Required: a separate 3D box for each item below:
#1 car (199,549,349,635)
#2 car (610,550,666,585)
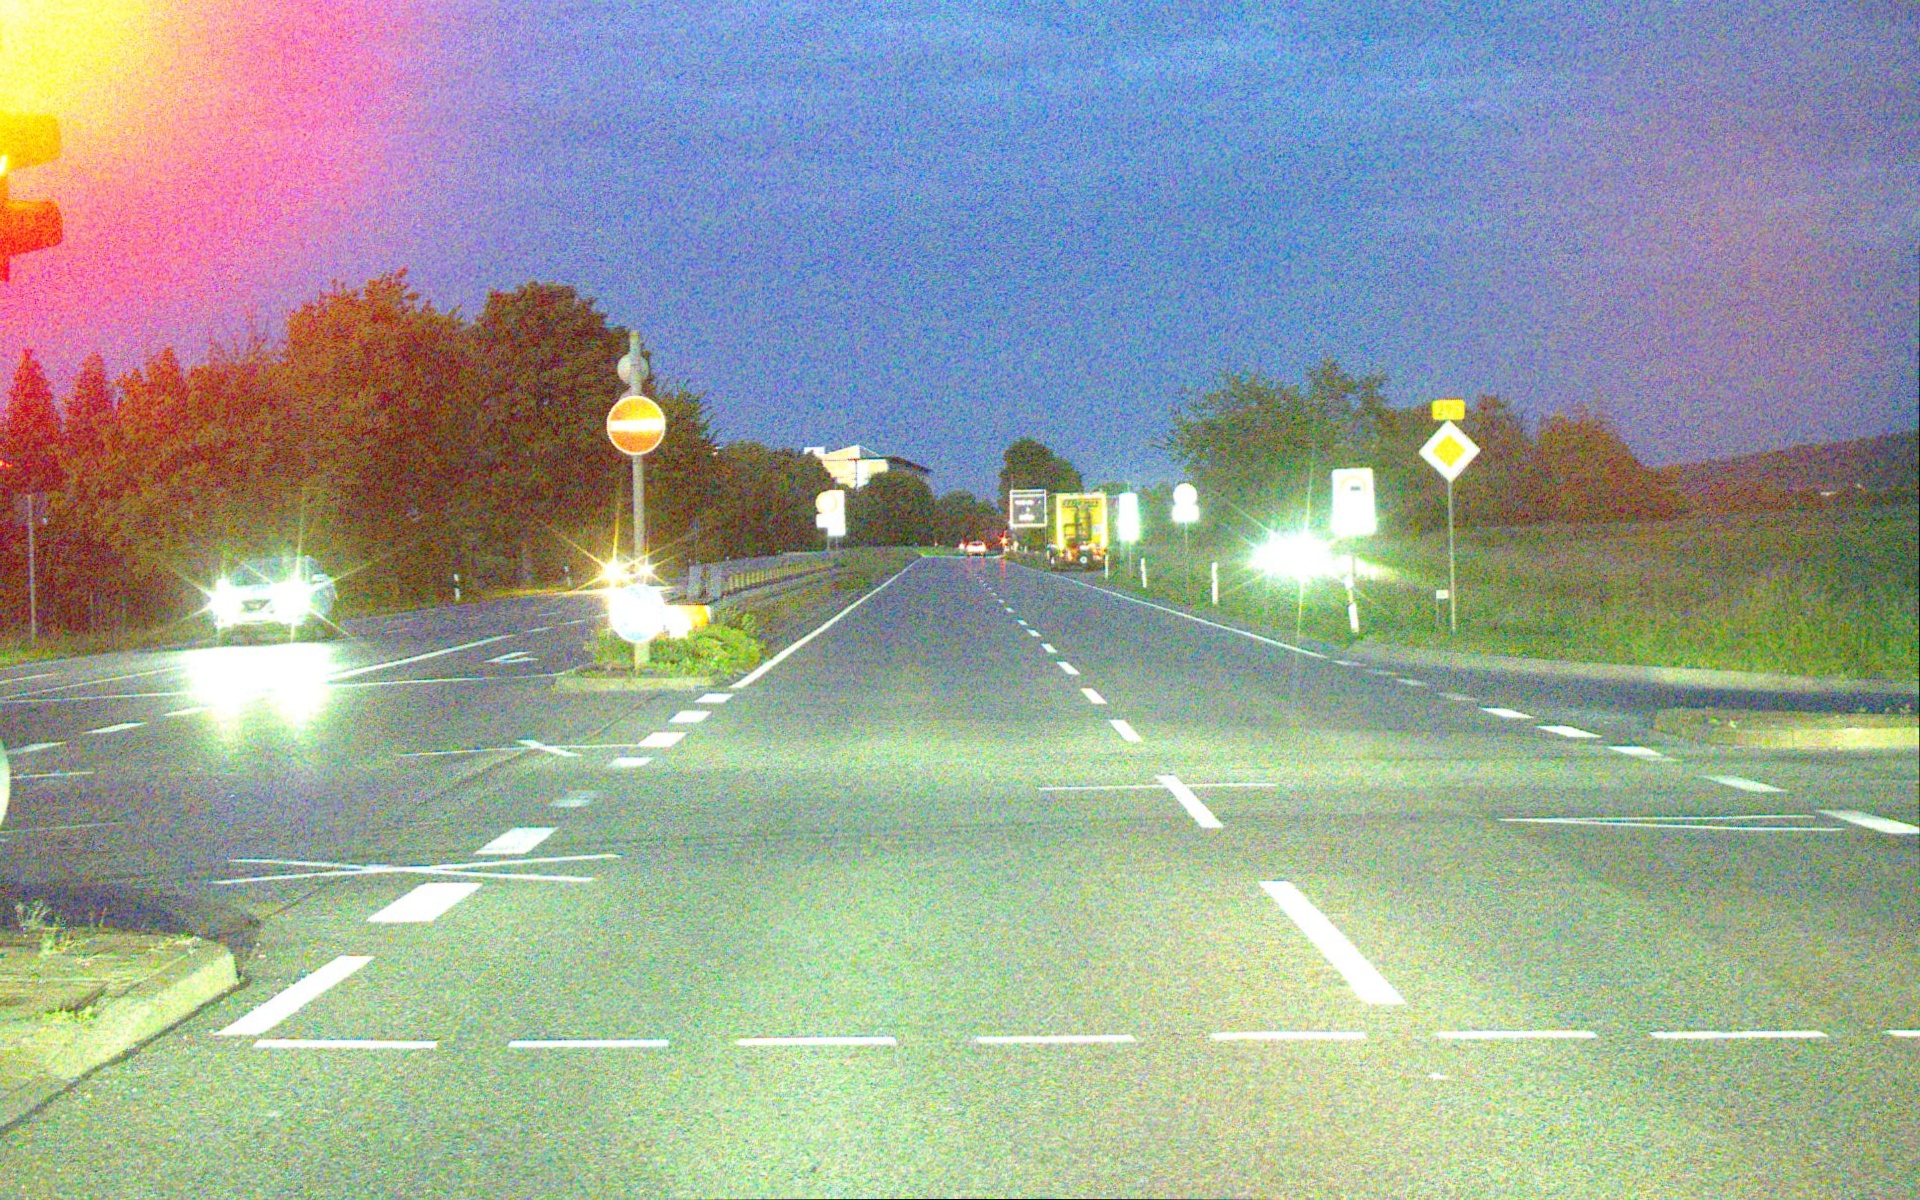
[{"bbox_3d":[-12.922,-0.179,65.008,1.993,1.514,4.298,-1,1,-1],"label":"car"},{"bbox_3d":[-13.382,-1.374,142.980,1.993,1.382,4.000,-1,1,-1],"label":"car"}]
